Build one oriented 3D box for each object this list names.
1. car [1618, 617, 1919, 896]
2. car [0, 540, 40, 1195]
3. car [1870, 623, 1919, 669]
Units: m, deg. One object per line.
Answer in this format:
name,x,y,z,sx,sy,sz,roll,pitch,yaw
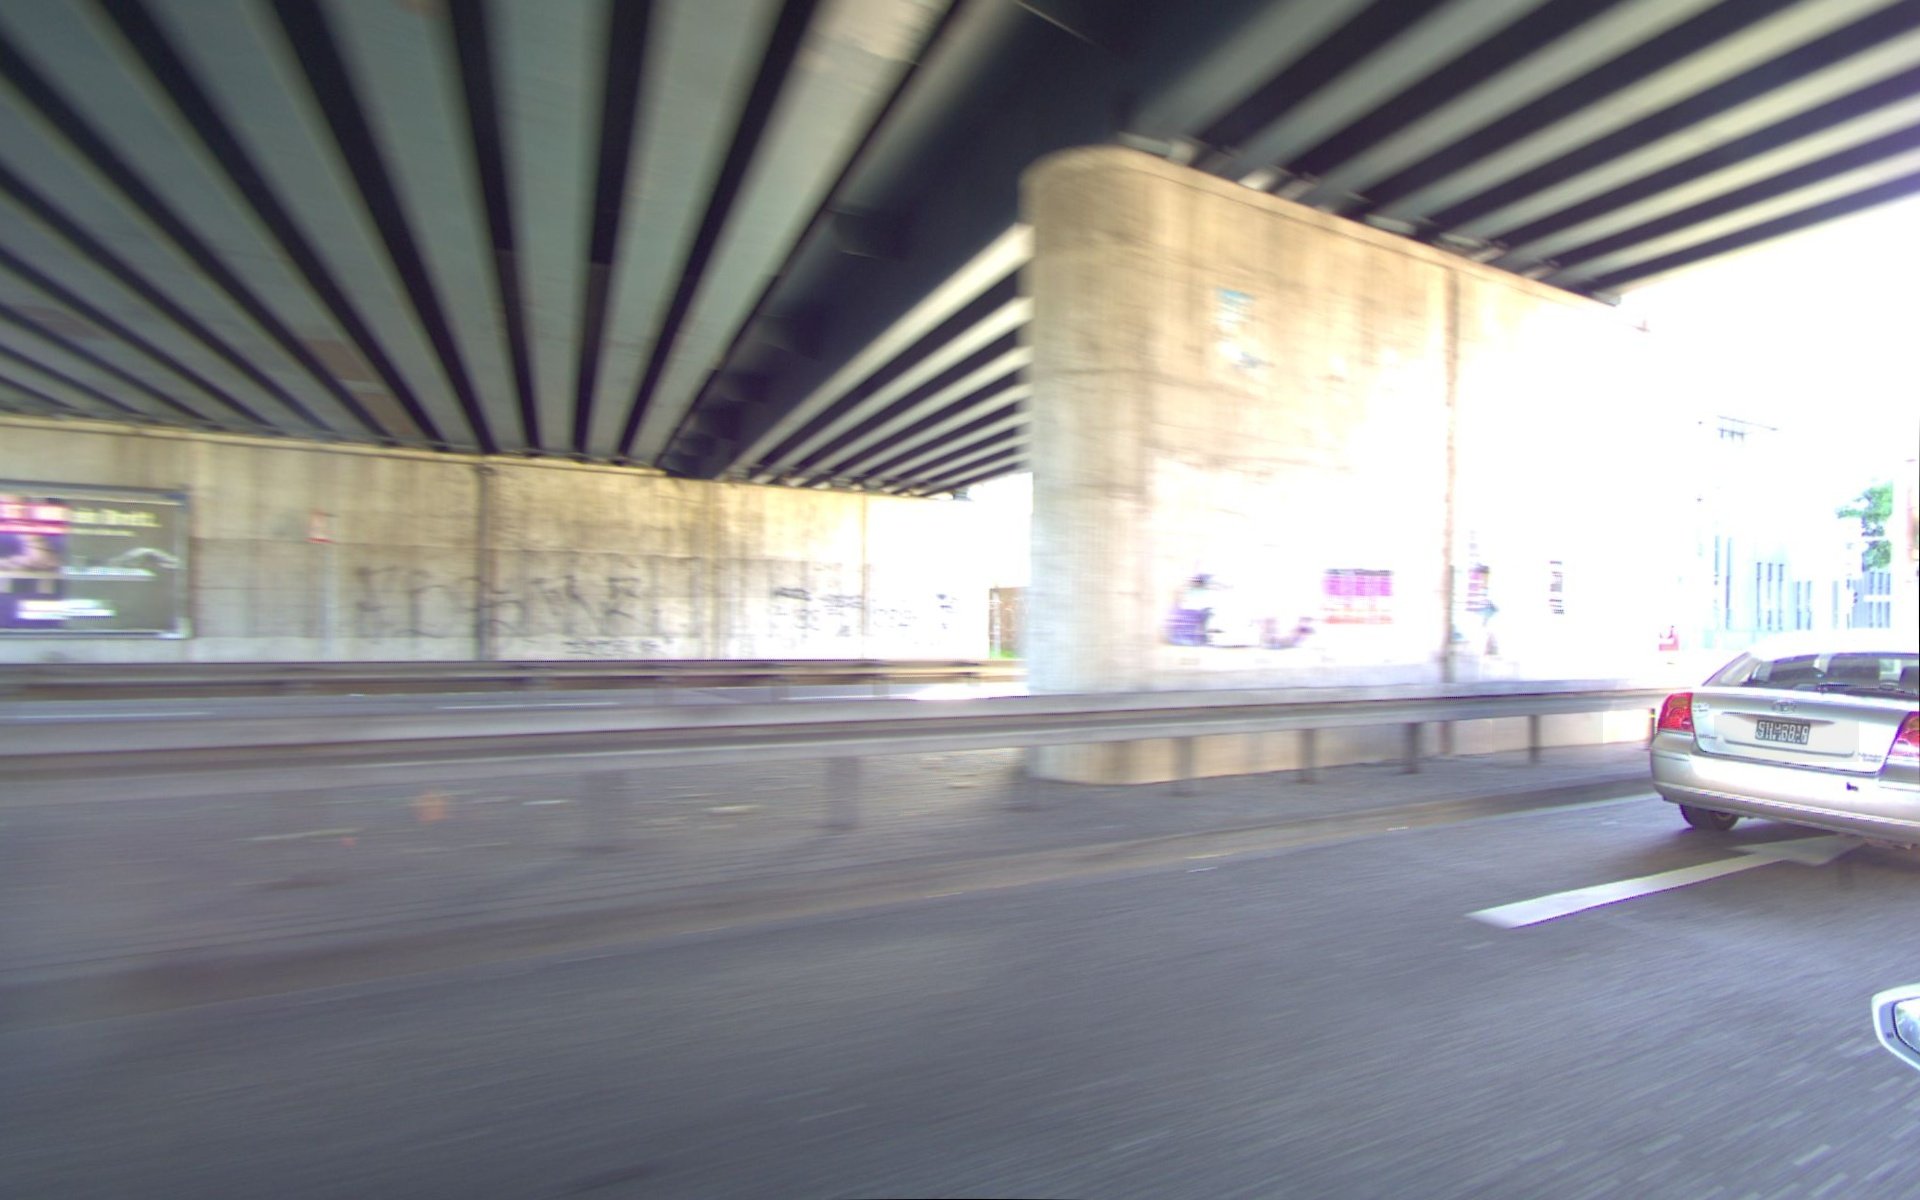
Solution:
car,6.757,0.938,7.137,4.267,1.499,1.725,2,-1,-30
car,-3.568,0.585,0.742,3.945,1.500,1.724,1,0,-31
car,39.044,1.873,40.753,4.575,1.760,1.816,2,-3,-30
